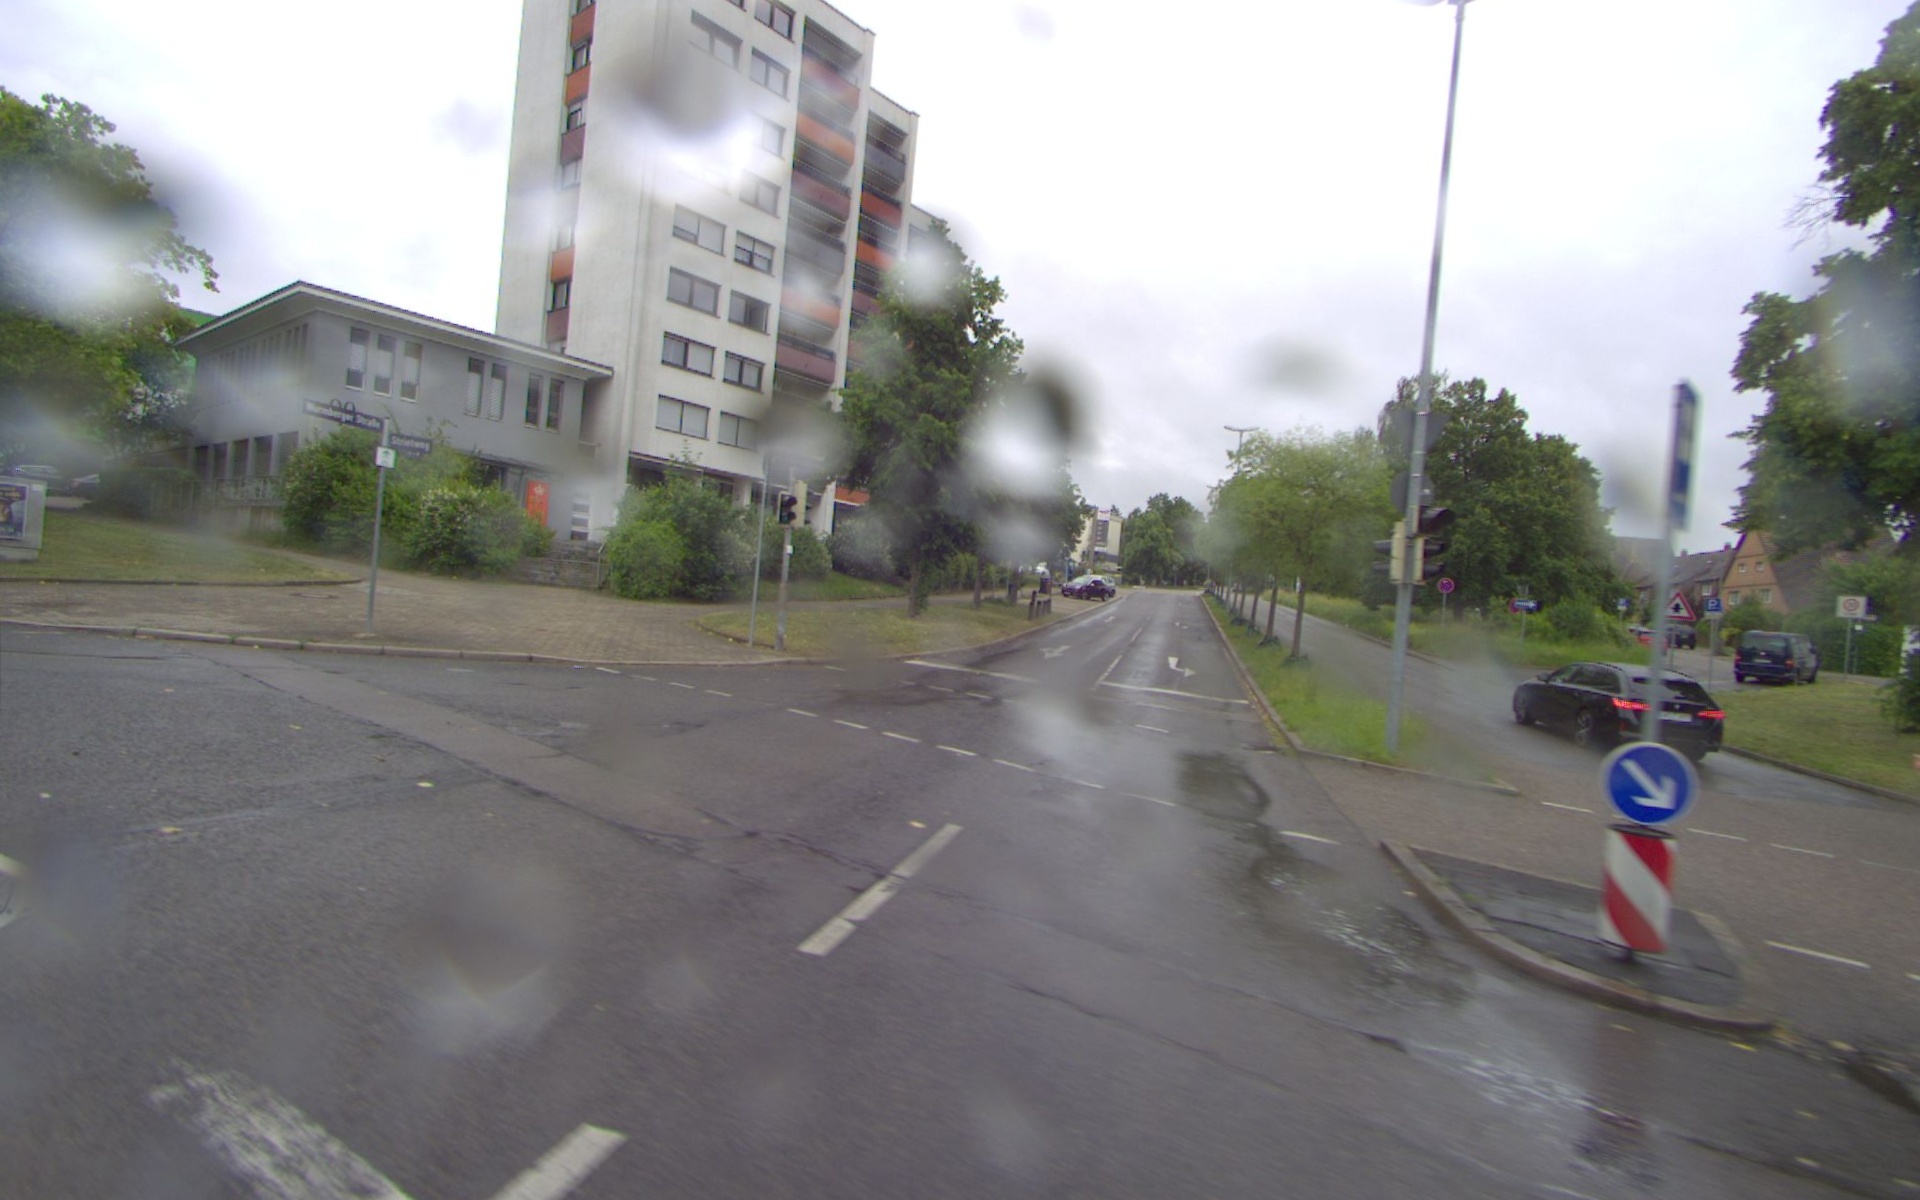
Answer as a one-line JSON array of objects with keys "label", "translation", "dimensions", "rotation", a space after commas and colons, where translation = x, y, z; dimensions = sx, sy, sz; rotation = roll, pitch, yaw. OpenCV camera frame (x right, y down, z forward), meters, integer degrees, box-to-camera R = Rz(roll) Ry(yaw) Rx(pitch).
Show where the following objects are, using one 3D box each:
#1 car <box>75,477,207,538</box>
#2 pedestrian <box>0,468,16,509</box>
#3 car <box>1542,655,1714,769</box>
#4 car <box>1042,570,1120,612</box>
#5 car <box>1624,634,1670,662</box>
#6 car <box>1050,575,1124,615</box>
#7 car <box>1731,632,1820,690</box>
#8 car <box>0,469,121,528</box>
[{"label": "car", "translation": [-34.707, -3.875, 42.685], "dimensions": [1.974, 1.836, 3.981], "rotation": [5, -3, 43]}, {"label": "pedestrian", "translation": [-41.059, -4.791, 43.196], "dimensions": [0.518, 1.636, 0.600], "rotation": [6, -2, 42]}, {"label": "car", "translation": [11.917, 1.914, 18.197], "dimensions": [1.500, 1.554, 3.530], "rotation": [7, 1, 18]}, {"label": "car", "translation": [7.524, -0.547, 62.408], "dimensions": [4.284, 2.037, 2.002], "rotation": [6, -2, 20]}, {"label": "car", "translation": [40.020, 2.802, 58.645], "dimensions": [1.452, 1.332, 3.000], "rotation": [6, -2, 21]}, {"label": "car", "translation": [8.251, -0.336, 65.241], "dimensions": [4.284, 2.037, 2.002], "rotation": [6, -2, 20]}, {"label": "car", "translation": [31.686, 2.392, 39.044], "dimensions": [3.780, 1.865, 1.823], "rotation": [6, 2, -40]}, {"label": "car", "translation": [-41.138, -4.580, 45.968], "dimensions": [1.975, 1.953, 3.979], "rotation": [5, -3, 44]}]
